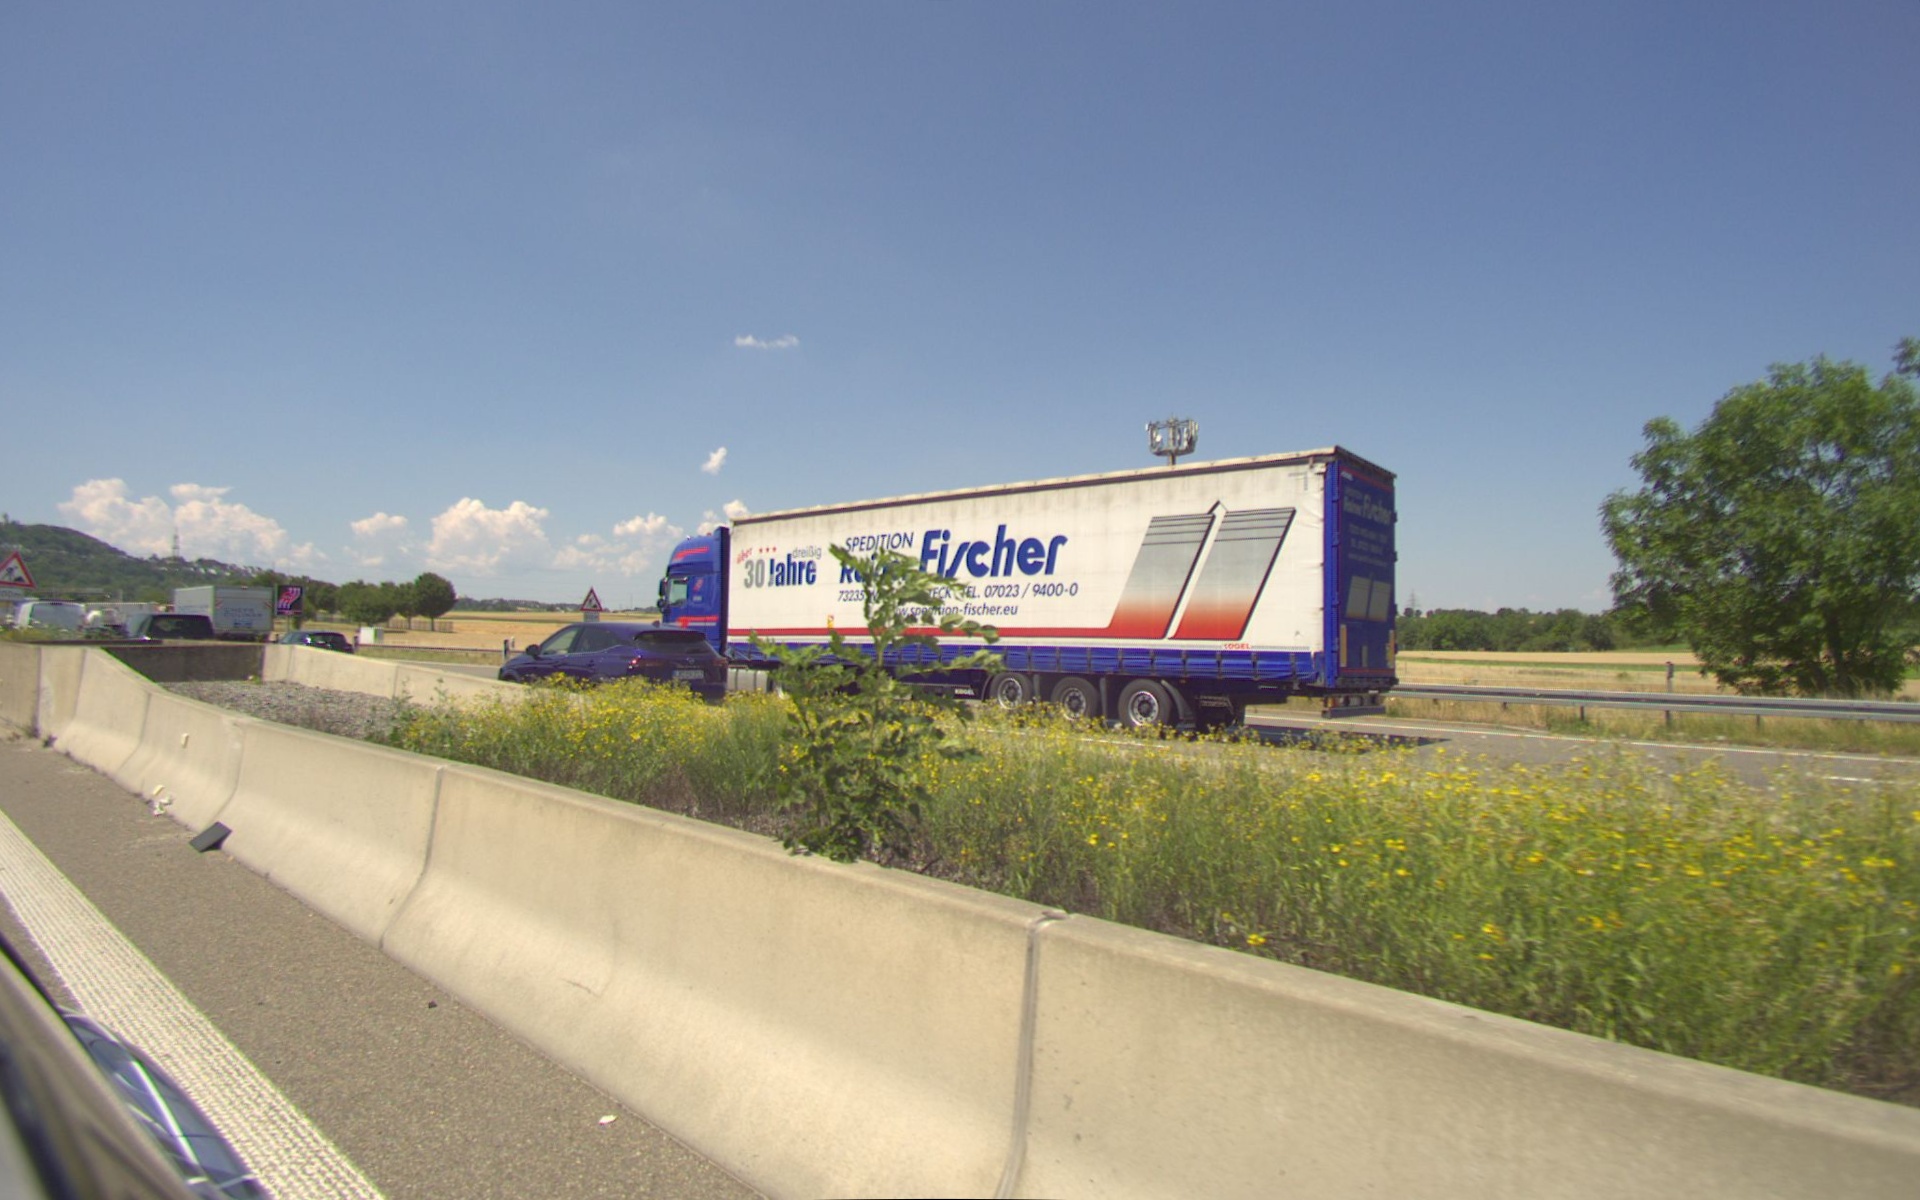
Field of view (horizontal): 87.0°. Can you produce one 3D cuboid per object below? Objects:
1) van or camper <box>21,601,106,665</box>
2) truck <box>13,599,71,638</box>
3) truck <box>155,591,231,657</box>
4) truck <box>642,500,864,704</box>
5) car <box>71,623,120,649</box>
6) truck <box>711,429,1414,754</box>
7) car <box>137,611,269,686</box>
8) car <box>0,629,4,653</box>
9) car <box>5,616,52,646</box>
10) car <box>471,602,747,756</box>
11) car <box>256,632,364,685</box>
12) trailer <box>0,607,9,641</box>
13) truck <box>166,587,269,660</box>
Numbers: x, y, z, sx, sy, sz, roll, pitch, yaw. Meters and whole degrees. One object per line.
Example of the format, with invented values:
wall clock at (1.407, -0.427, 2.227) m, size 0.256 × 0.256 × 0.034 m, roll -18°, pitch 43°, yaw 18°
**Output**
van or camper at (-39.121, 1.410, 44.137) m, size 4.395 × 2.649 × 2.126 m, roll -1°, pitch -2°, yaw 41°
truck at (-88.421, 1.842, 97.384) m, size 9.987 × 3.636 × 2.945 m, roll -2°, pitch -2°, yaw 41°
truck at (-44.058, 1.408, 58.131) m, size 3.999 × 3.615 × 2.669 m, roll -2°, pitch -4°, yaw 42°
truck at (-4.920, 0.145, 23.806) m, size 4.851 × 4.271 × 2.565 m, roll -1°, pitch -4°, yaw 41°
car at (-50.446, 2.097, 59.062) m, size 3.834 × 1.453 × 1.543 m, roll -1°, pitch -4°, yaw 40°
truck at (0.684, 0.052, 18.885) m, size 14.115 × 4.271 × 2.565 m, roll -1°, pitch -4°, yaw 41°
car at (-21.424, 1.313, 28.569) m, size 4.792 × 1.961 × 1.973 m, roll -1°, pitch -2°, yaw 41°
car at (-64.107, 2.683, 66.464) m, size 3.702 × 1.582 × 1.543 m, roll -1°, pitch -2°, yaw 40°
car at (-62.845, 2.089, 68.281) m, size 4.459 × 1.937 × 1.972 m, roll -2°, pitch -1°, yaw 42°
car at (-5.336, 1.058, 15.065) m, size 4.612 × 1.961 × 1.794 m, roll -1°, pitch -2°, yaw 41°
car at (-21.583, 1.892, 33.573) m, size 4.092 × 1.667 × 1.869 m, roll -1°, pitch -3°, yaw 40°
trailer at (-122.735, 3.052, 127.531) m, size 14.121 × 4.160 × 2.780 m, roll -1°, pitch -3°, yaw 41°
truck at (-40.128, 1.296, 54.545) m, size 8.785 × 3.648 × 2.670 m, roll -2°, pitch -4°, yaw 42°
